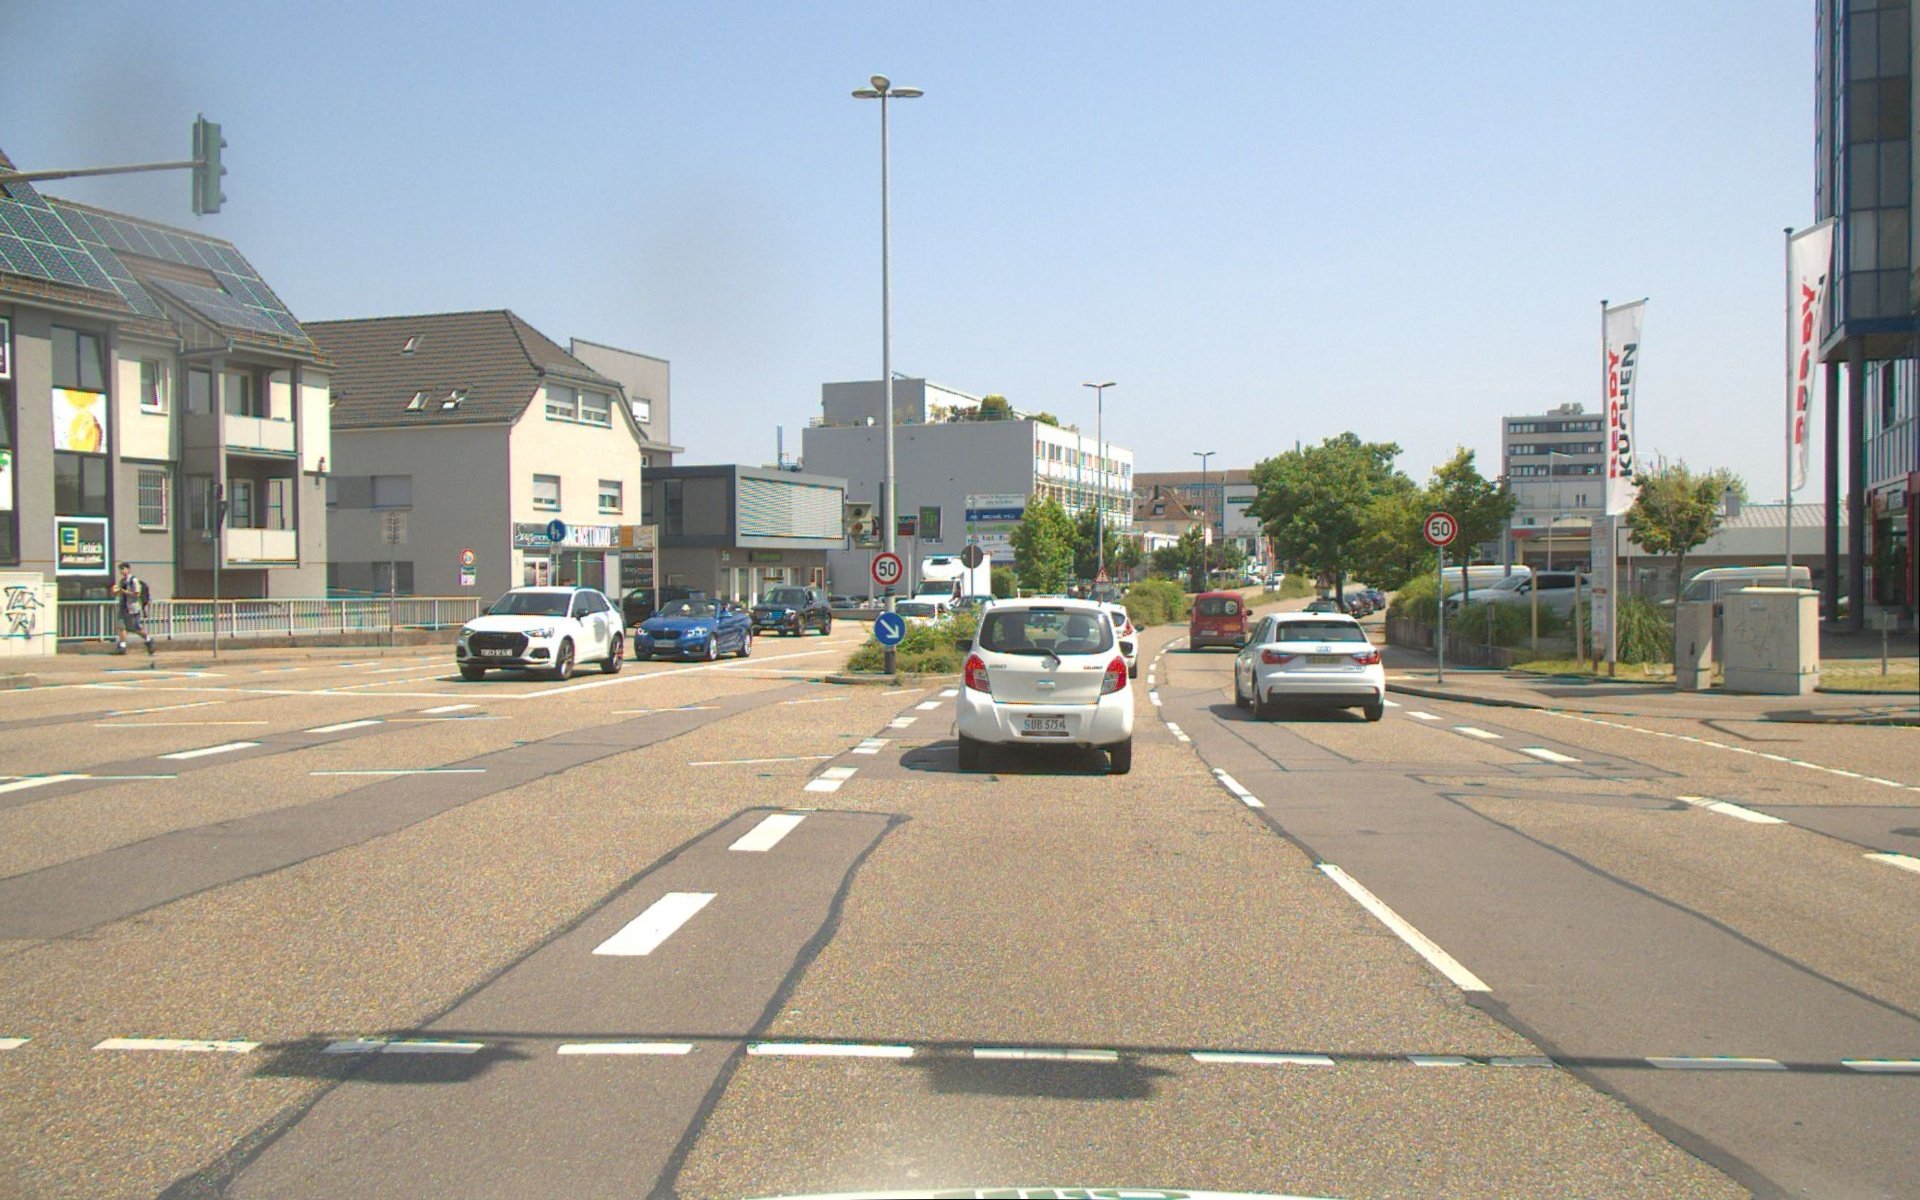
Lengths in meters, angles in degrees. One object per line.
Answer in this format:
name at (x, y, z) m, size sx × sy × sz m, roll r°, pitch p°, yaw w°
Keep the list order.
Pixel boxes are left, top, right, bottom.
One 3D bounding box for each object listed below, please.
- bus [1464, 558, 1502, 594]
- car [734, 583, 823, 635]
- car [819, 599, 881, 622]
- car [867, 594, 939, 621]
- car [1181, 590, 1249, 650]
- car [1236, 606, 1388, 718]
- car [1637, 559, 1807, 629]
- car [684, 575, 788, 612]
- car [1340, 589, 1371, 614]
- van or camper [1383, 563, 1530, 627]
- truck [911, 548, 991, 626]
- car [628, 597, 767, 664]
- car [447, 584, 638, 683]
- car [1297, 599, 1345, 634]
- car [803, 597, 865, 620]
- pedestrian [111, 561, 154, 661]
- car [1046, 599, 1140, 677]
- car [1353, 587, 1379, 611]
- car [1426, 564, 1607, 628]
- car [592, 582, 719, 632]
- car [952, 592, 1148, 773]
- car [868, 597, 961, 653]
bus at (50.279, -2.355, 158.791) m, size 2.747 × 3.132 × 12.287 m, roll 0°, pitch 2°, yaw 21°
car at (-6.114, 0.271, 56.174) m, size 1.951 × 1.685 × 4.597 m, roll 0°, pitch 0°, yaw 8°
car at (-7.824, 0.755, 117.838) m, size 3.890 × 1.493 × 2.074 m, roll -2°, pitch 0°, yaw 16°
car at (-3.257, 0.437, 94.789) m, size 3.902 × 1.485 × 1.577 m, roll 0°, pitch -1°, yaw 13°
car at (7.773, 0.583, 50.694) m, size 1.757 × 1.759 × 3.975 m, roll 1°, pitch 0°, yaw 4°
car at (4.856, 0.803, 23.239) m, size 1.632 × 1.424 × 3.795 m, roll 1°, pitch 0°, yaw 5°
car at (29.295, -0.221, 63.825) m, size 5.764 × 2.573 × 2.120 m, roll 1°, pitch -1°, yaw 21°
car at (-9.601, -0.276, 71.095) m, size 3.970 × 1.548 × 2.001 m, roll -1°, pitch 0°, yaw 15°
car at (25.610, 0.096, 107.036) m, size 1.815 × 1.507 × 5.160 m, roll 0°, pitch 1°, yaw 14°
van or camper at (23.933, -0.233, 79.906) m, size 6.653 × 2.948 × 2.277 m, roll -1°, pitch 1°, yaw 17°
truck at (-0.342, -0.537, 77.760) m, size 2.216 × 3.477 × 7.044 m, roll 1°, pitch -1°, yaw 13°
car at (-5.892, 0.662, 37.655) m, size 1.823 × 1.390 × 4.350 m, roll 1°, pitch 0°, yaw 10°
car at (-7.400, 0.554, 29.817) m, size 1.778 × 1.597 × 4.559 m, roll 1°, pitch 0°, yaw 7°
car at (15.912, 0.707, 72.800) m, size 1.759 × 1.430 × 4.323 m, roll 1°, pitch 1°, yaw 16°
car at (-8.712, 0.601, 114.593) m, size 3.887 × 1.493 × 1.966 m, roll -1°, pitch 1°, yaw 13°
pedestrian at (-17.110, 0.217, 34.196) m, size 0.492 × 2.048 × 0.743 m, roll 1°, pitch 1°, yaw 1°
car at (2.699, 0.739, 34.333) m, size 1.792 × 1.475 × 4.001 m, roll 1°, pitch 0°, yaw 3°
car at (28.981, -0.084, 117.971) m, size 1.677 × 1.575 × 4.794 m, roll -1°, pitch 0°, yaw 15°
car at (16.341, -0.115, 48.687) m, size 4.636 × 1.743 × 1.996 m, roll 1°, pitch -1°, yaw -8°
car at (-11.953, 0.252, 65.028) m, size 4.509 × 1.655 × 1.855 m, roll 3°, pitch 1°, yaw 17°
car at (0.815, 0.726, 15.981) m, size 1.677 × 1.537 × 3.247 m, roll 1°, pitch 0°, yaw 1°
car at (-1.229, 0.671, 46.455) m, size 1.823 × 1.456 × 4.748 m, roll 1°, pitch 0°, yaw 8°
